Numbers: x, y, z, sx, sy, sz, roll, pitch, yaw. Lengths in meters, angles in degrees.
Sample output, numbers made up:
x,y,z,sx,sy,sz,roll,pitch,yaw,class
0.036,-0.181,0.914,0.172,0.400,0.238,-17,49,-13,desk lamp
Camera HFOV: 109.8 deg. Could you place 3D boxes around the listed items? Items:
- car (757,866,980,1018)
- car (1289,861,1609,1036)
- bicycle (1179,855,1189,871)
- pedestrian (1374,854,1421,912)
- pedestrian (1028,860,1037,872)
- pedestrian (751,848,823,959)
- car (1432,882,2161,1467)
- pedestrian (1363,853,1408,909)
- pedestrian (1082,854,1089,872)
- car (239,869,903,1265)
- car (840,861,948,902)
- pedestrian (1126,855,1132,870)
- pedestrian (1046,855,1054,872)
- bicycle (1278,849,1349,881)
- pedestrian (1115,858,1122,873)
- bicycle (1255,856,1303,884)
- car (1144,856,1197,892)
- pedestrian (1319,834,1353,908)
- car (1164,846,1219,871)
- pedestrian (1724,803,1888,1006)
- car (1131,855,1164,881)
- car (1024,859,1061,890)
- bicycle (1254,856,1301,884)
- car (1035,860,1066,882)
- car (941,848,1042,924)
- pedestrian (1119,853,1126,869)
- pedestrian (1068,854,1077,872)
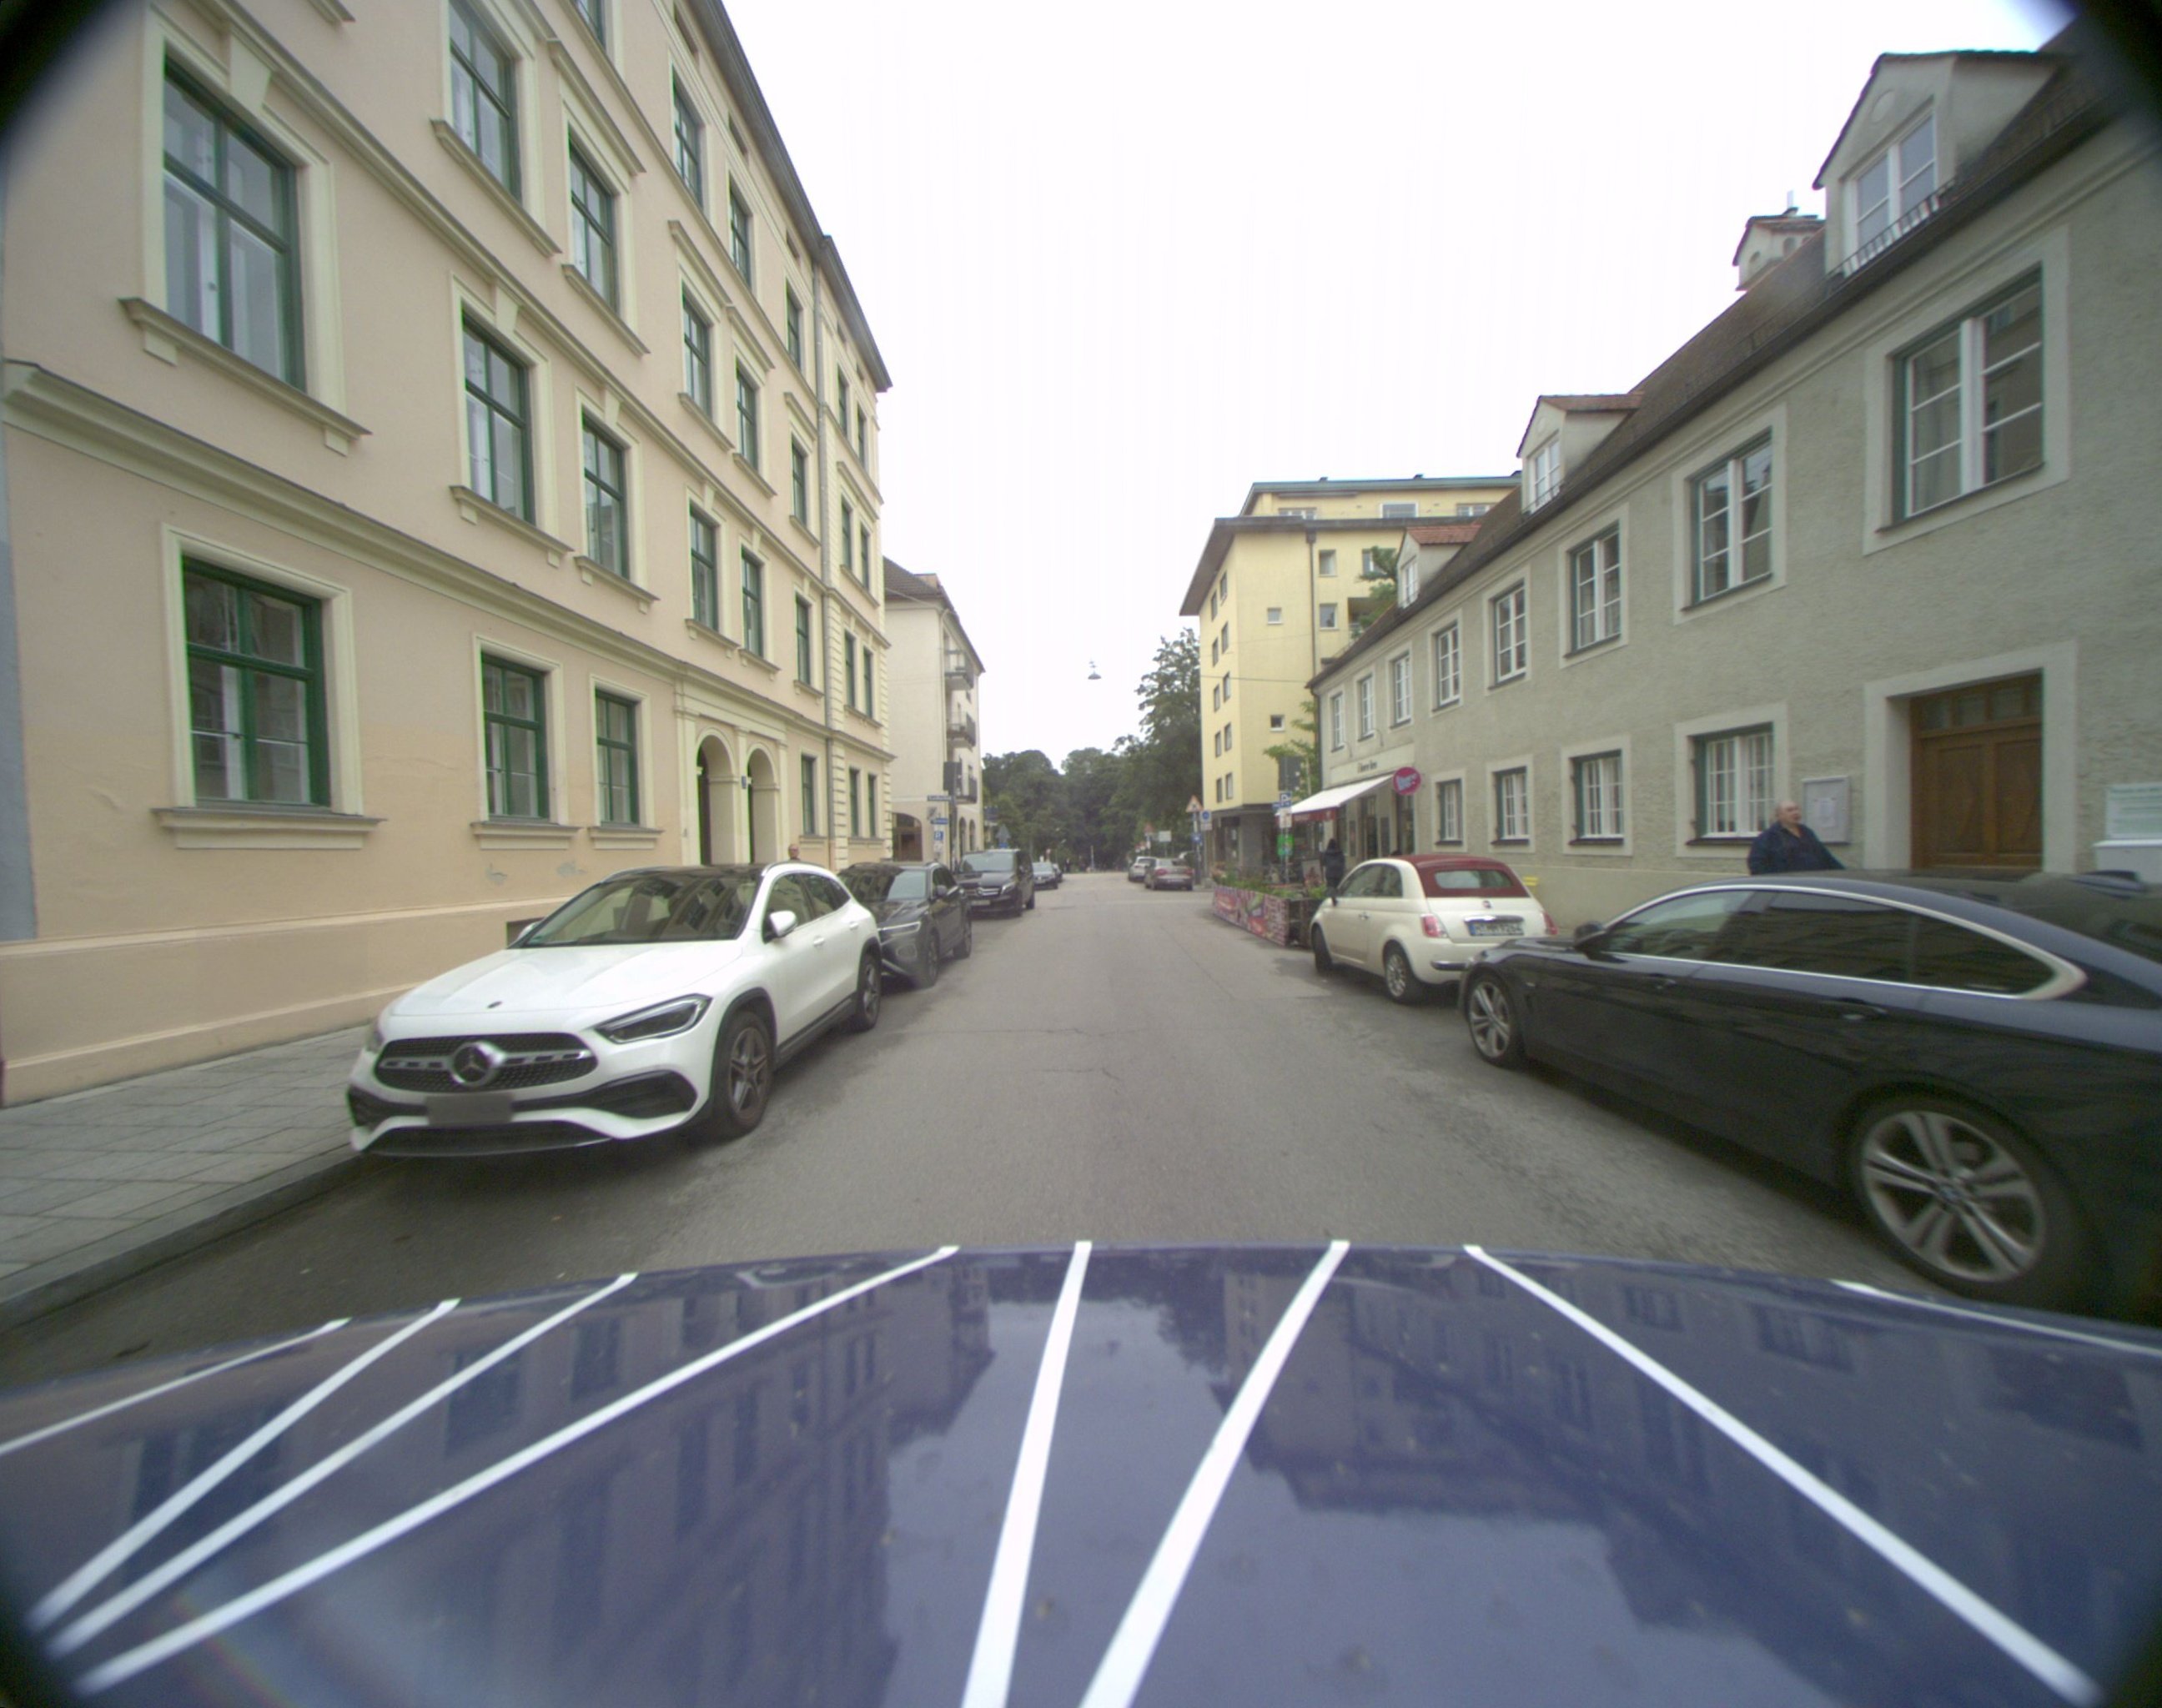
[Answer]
x,y,z,sx,sy,sz,roll,pitch,yaw,class
-2.634,1.011,10.547,1.759,1.512,4.274,-2,1,1,car
3.886,0.881,8.803,1.759,1.466,3.713,-3,0,-2,car
7.964,0.702,58.997,0.563,1.203,1.854,-3,1,4,bicycle
7.344,0.670,17.655,0.805,1.283,0.693,-2,2,1,pedestrian
-5.480,1.342,85.489,0.887,1.227,0.550,-3,-2,-10,pedestrian
-4.778,0.772,12.423,0.720,1.707,1.003,-2,2,0,pedestrian
3.707,0.914,3.689,1.803,1.331,4.685,-2,0,0,car
7.359,0.639,18.378,0.805,1.283,0.693,-2,2,1,pedestrian
0.448,0.866,73.713,0.639,1.662,0.774,-3,-2,2,pedestrian
-2.787,0.999,5.605,1.747,1.574,4.466,-2,1,1,car
-7.839,1.160,32.130,4.099,1.595,1.755,-2,-1,-1,car
5.629,0.975,89.602,0.634,1.770,0.801,-1,-1,1,pedestrian
-3.251,0.993,78.718,0.653,1.676,0.976,-3,-2,2,pedestrian
10.198,0.481,33.422,2.849,1.205,0.817,-3,2,4,bicycle
4.544,1.415,92.089,0.751,1.822,1.115,-1,-1,1,pedestrian
8.175,0.669,31.365,1.822,1.028,0.392,-4,0,4,bicycle
3.989,0.864,34.688,1.683,1.463,4.949,-1,0,-2,car
6.317,0.408,18.864,0.530,1.772,0.877,-2,2,1,pedestrian
9.796,0.407,67.483,4.422,1.990,1.933,-2,2,-14,car
7.121,0.466,7.512,0.824,1.887,0.827,-2,2,0,pedestrian
4.157,0.878,48.062,1.807,1.574,4.339,-1,-1,1,car
-1.965,1.036,39.834,1.680,1.416,4.203,-4,0,-1,car
8.199,0.658,31.768,1.822,1.028,0.392,-4,0,4,bicycle
-2.098,1.153,53.089,1.807,1.402,4.656,-3,0,1,car
-2.402,0.804,21.896,2.002,1.853,5.253,-3,0,2,car
4.909,0.873,89.606,0.707,1.892,0.804,-1,-1,1,pedestrian
-0.825,0.874,73.486,0.686,1.662,0.774,-3,-2,2,pedestrian
